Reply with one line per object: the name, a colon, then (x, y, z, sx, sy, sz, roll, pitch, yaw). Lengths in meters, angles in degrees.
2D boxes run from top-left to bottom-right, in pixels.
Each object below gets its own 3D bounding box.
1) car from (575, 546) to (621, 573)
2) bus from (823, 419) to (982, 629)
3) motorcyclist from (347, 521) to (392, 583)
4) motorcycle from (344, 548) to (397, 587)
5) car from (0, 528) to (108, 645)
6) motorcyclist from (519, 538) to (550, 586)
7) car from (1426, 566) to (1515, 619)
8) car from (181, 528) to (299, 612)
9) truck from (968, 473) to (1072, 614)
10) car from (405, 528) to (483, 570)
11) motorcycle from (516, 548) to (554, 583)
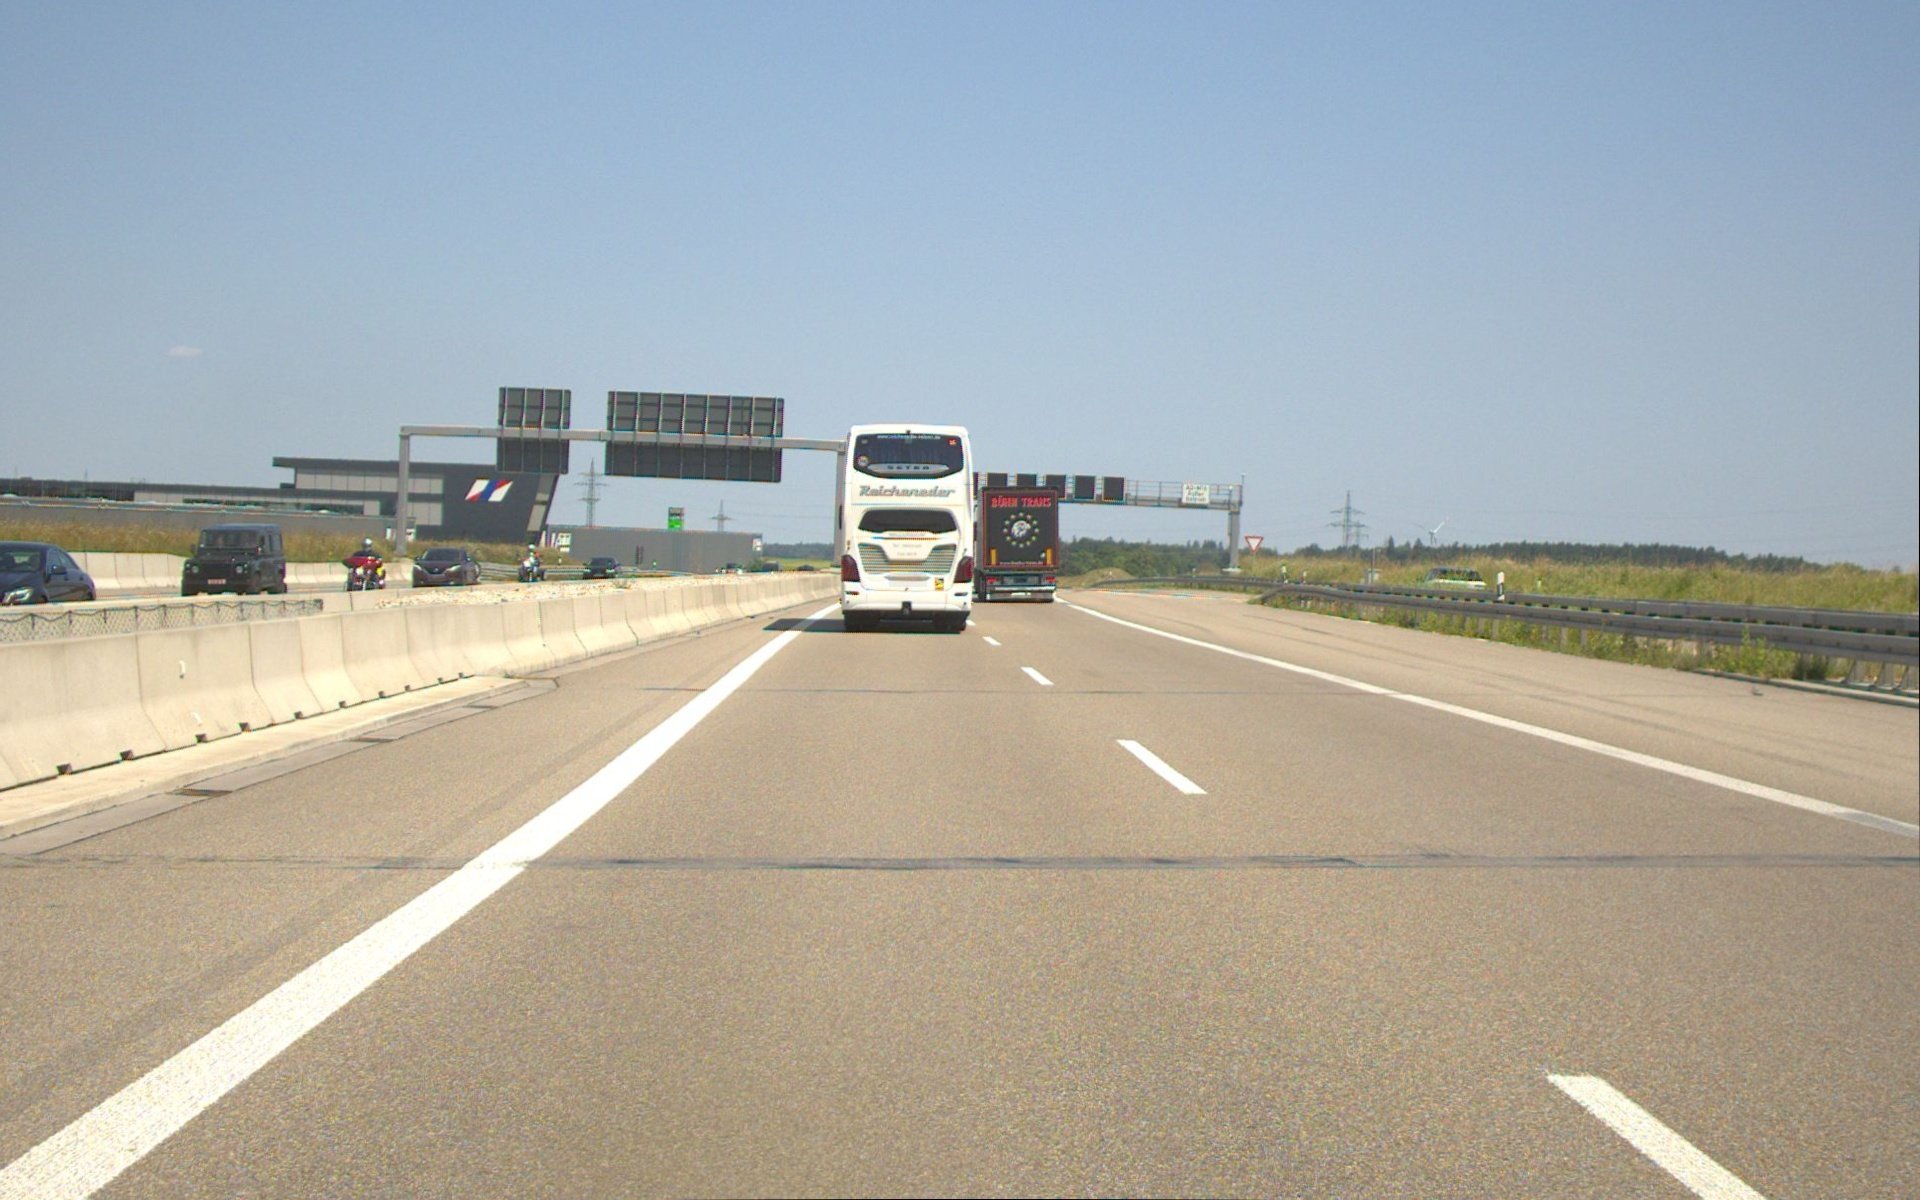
car: (-18.562, -2.081, 176.274, 1.993, 1.374, 4.364, 1, 1, -1)
bus: (-1.205, -1.560, 70.038, 2.980, 3.961, 9.106, 1, 1, -1)
motorcyclist: (-14.371, -1.172, 83.628, 0.918, 1.492, 0.923, 1, 1, 0)
motorcycle: (-14.375, -0.801, 83.898, 0.775, 0.899, 2.705, 1, 1, 1)
car: (-14.318, -0.244, 51.477, 1.993, 1.663, 4.649, 1, 1, -1)
motorcyclist: (-14.510, -1.308, 117.298, 0.920, 1.616, 1.088, 1, 1, 0)
car: (15.382, -0.240, 103.810, 1.891, 1.524, 4.262, 1, 1, -2)
car: (-17.904, -0.762, 85.725, 1.885, 2.011, 4.735, 1, 1, 1)
truck: (2.212, -1.863, 122.049, 3.380, 4.449, 13.565, 1, -1, 2)
car: (-18.501, -1.814, 123.409, 1.869, 1.486, 5.138, 0, 0, 2)
motorcycle: (-14.515, -1.170, 117.394, 0.958, 1.165, 2.723, 1, 1, 0)
